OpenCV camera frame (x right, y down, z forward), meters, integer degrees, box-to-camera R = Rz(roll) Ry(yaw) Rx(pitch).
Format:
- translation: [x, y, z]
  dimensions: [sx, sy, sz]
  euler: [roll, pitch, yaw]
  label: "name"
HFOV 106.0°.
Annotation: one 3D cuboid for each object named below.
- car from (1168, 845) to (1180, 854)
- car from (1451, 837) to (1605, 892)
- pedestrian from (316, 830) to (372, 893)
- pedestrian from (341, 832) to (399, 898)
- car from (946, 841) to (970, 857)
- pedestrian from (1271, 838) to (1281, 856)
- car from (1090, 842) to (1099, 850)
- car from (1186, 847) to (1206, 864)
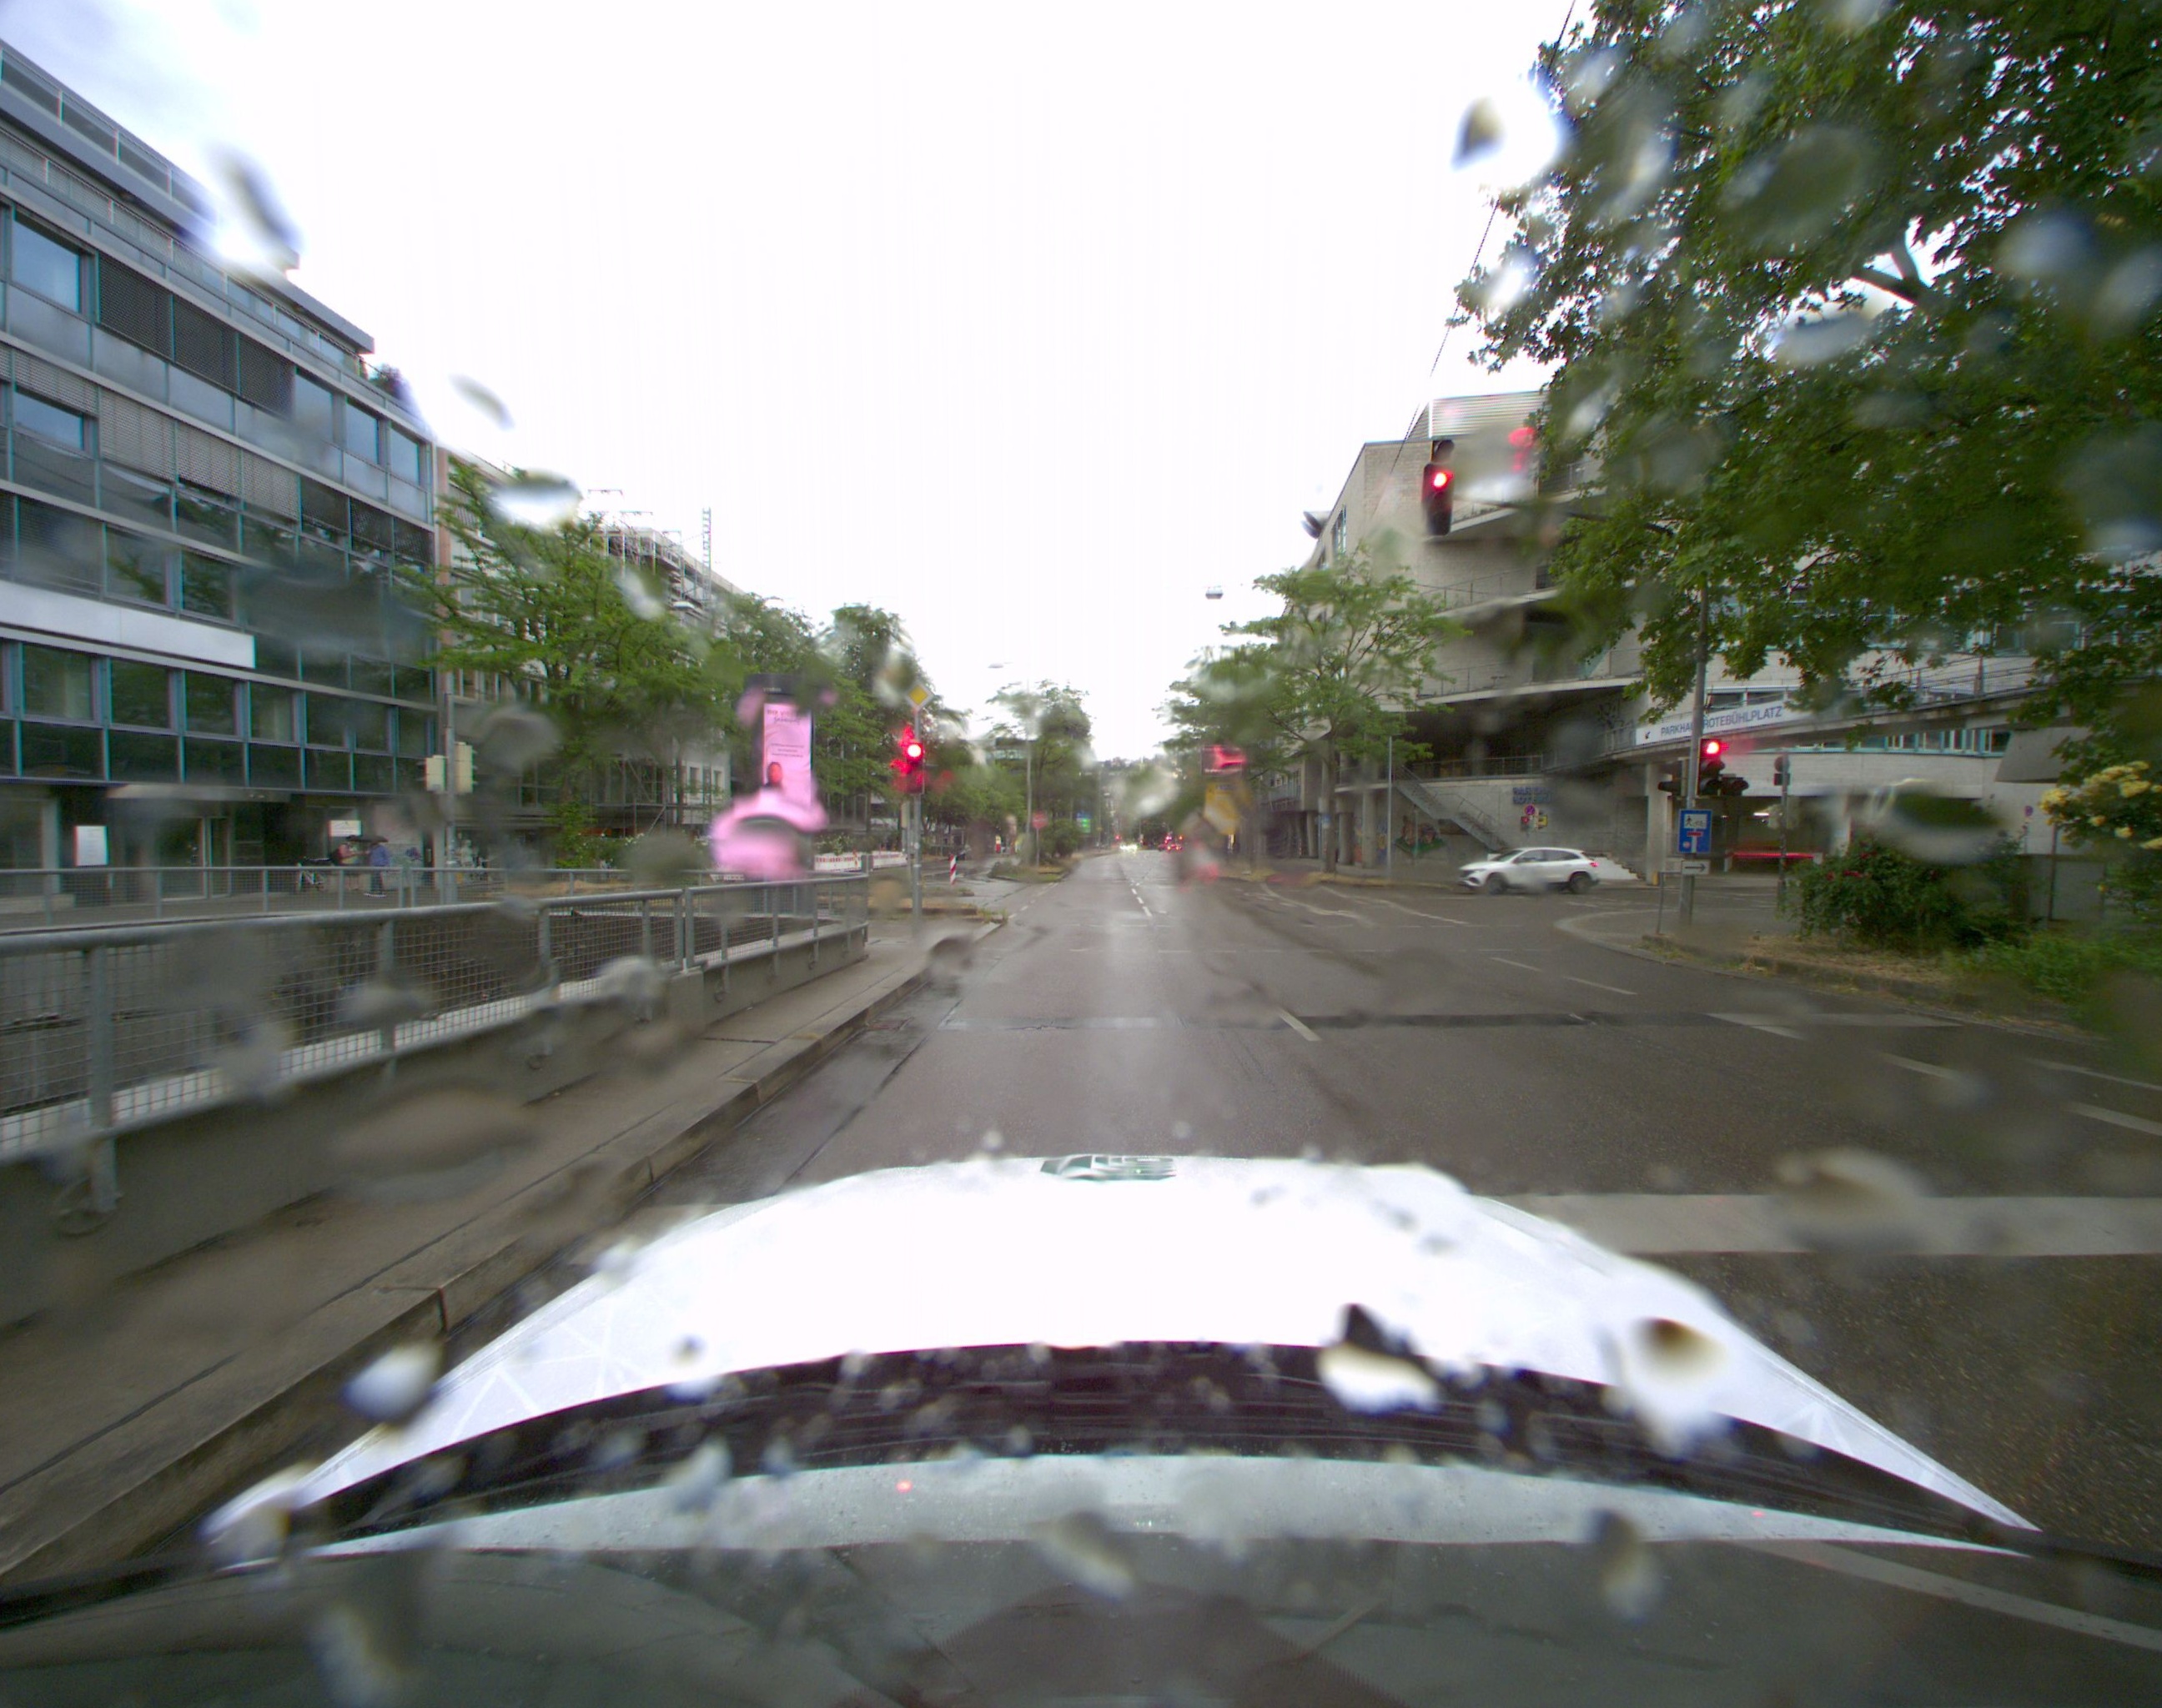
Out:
- translation: [16.205, -0.833, 141.641]
  dimensions: [1.739, 1.519, 4.108]
  euler: [1, 0, 2]
  label: "car"
- translation: [15.363, 0.396, 28.182]
  dimensions: [4.323, 1.685, 1.753]
  euler: [1, -6, 4]
  label: "car"
- translation: [-22.714, 0.225, 25.098]
  dimensions: [0.857, 1.868, 0.964]
  euler: [1, 0, 20]
  label: "pedestrian"
- translation: [-20.903, 0.318, 23.955]
  dimensions: [0.874, 1.868, 0.867]
  euler: [1, 0, 0]
  label: "pedestrian"
- translation: [-12.596, -0.533, 83.852]
  dimensions: [1.774, 1.555, 3.895]
  euler: [1, 2, 1]
  label: "car"
- translation: [17.135, -0.648, 71.559]
  dimensions: [0.782, 1.557, 0.534]
  euler: [1, 0, 6]
  label: "pedestrian"
- translation: [3.652, -2.281, 224.217]
  dimensions: [2.118, 2.164, 5.204]
  euler: [1, 0, 5]
  label: "car"
- translation: [11.775, 0.106, 83.477]
  dimensions: [1.892, 1.684, 3.917]
  euler: [1, 0, 6]
  label: "car"
